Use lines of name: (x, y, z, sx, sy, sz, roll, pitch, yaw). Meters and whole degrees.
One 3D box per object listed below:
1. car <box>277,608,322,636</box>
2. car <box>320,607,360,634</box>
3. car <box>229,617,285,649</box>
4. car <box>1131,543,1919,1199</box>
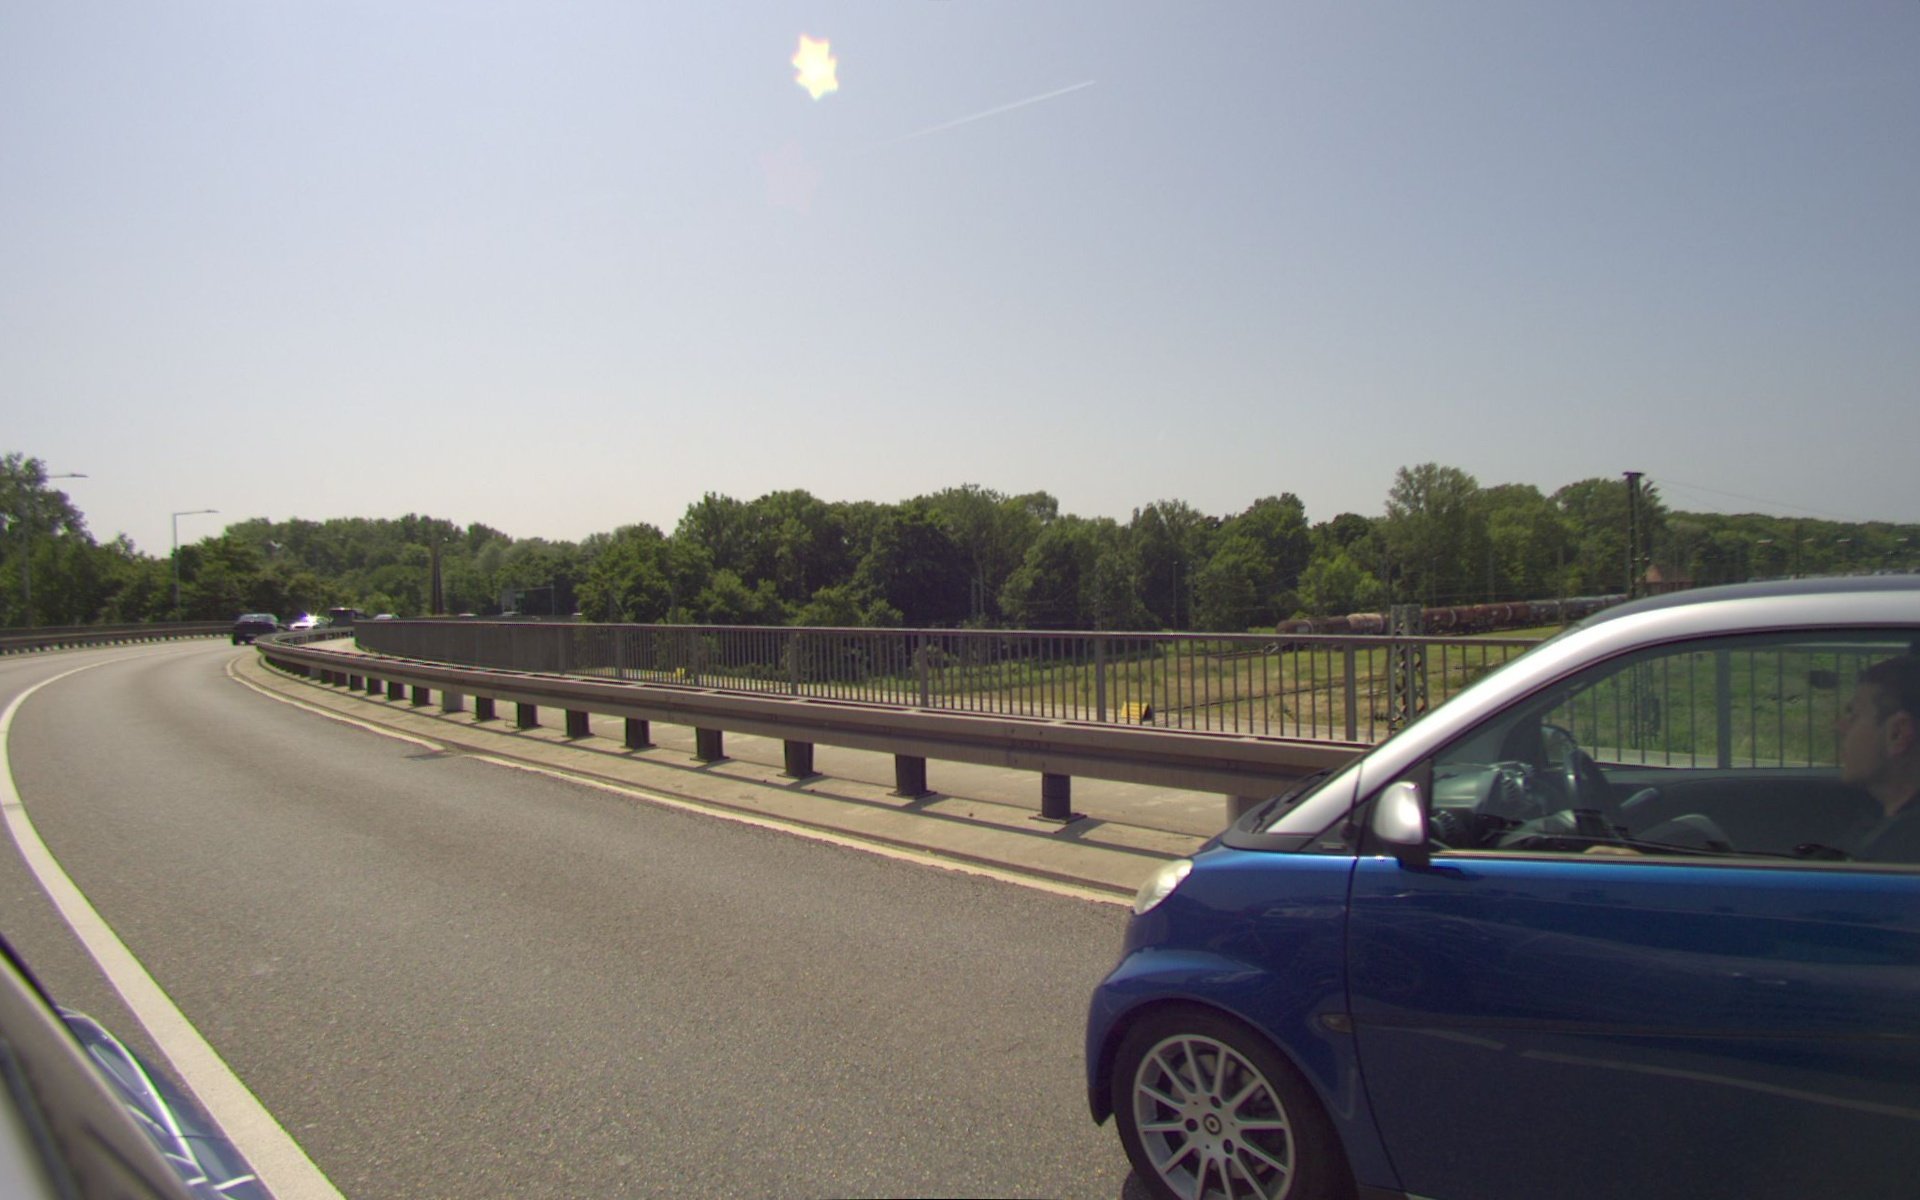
car: (-50.555, 1.685, 77.558, 1.966, 2.029, 4.012, -1, -1, -19)
car: (-47.100, 1.510, 76.941, 1.978, 1.973, 5.288, 0, 0, -25)
car: (-38.473, 1.798, 55.487, 1.866, 1.608, 4.501, -1, -1, -27)
car: (1.963, 0.658, 2.046, 2.745, 1.497, 1.581, -2, -1, 39)
